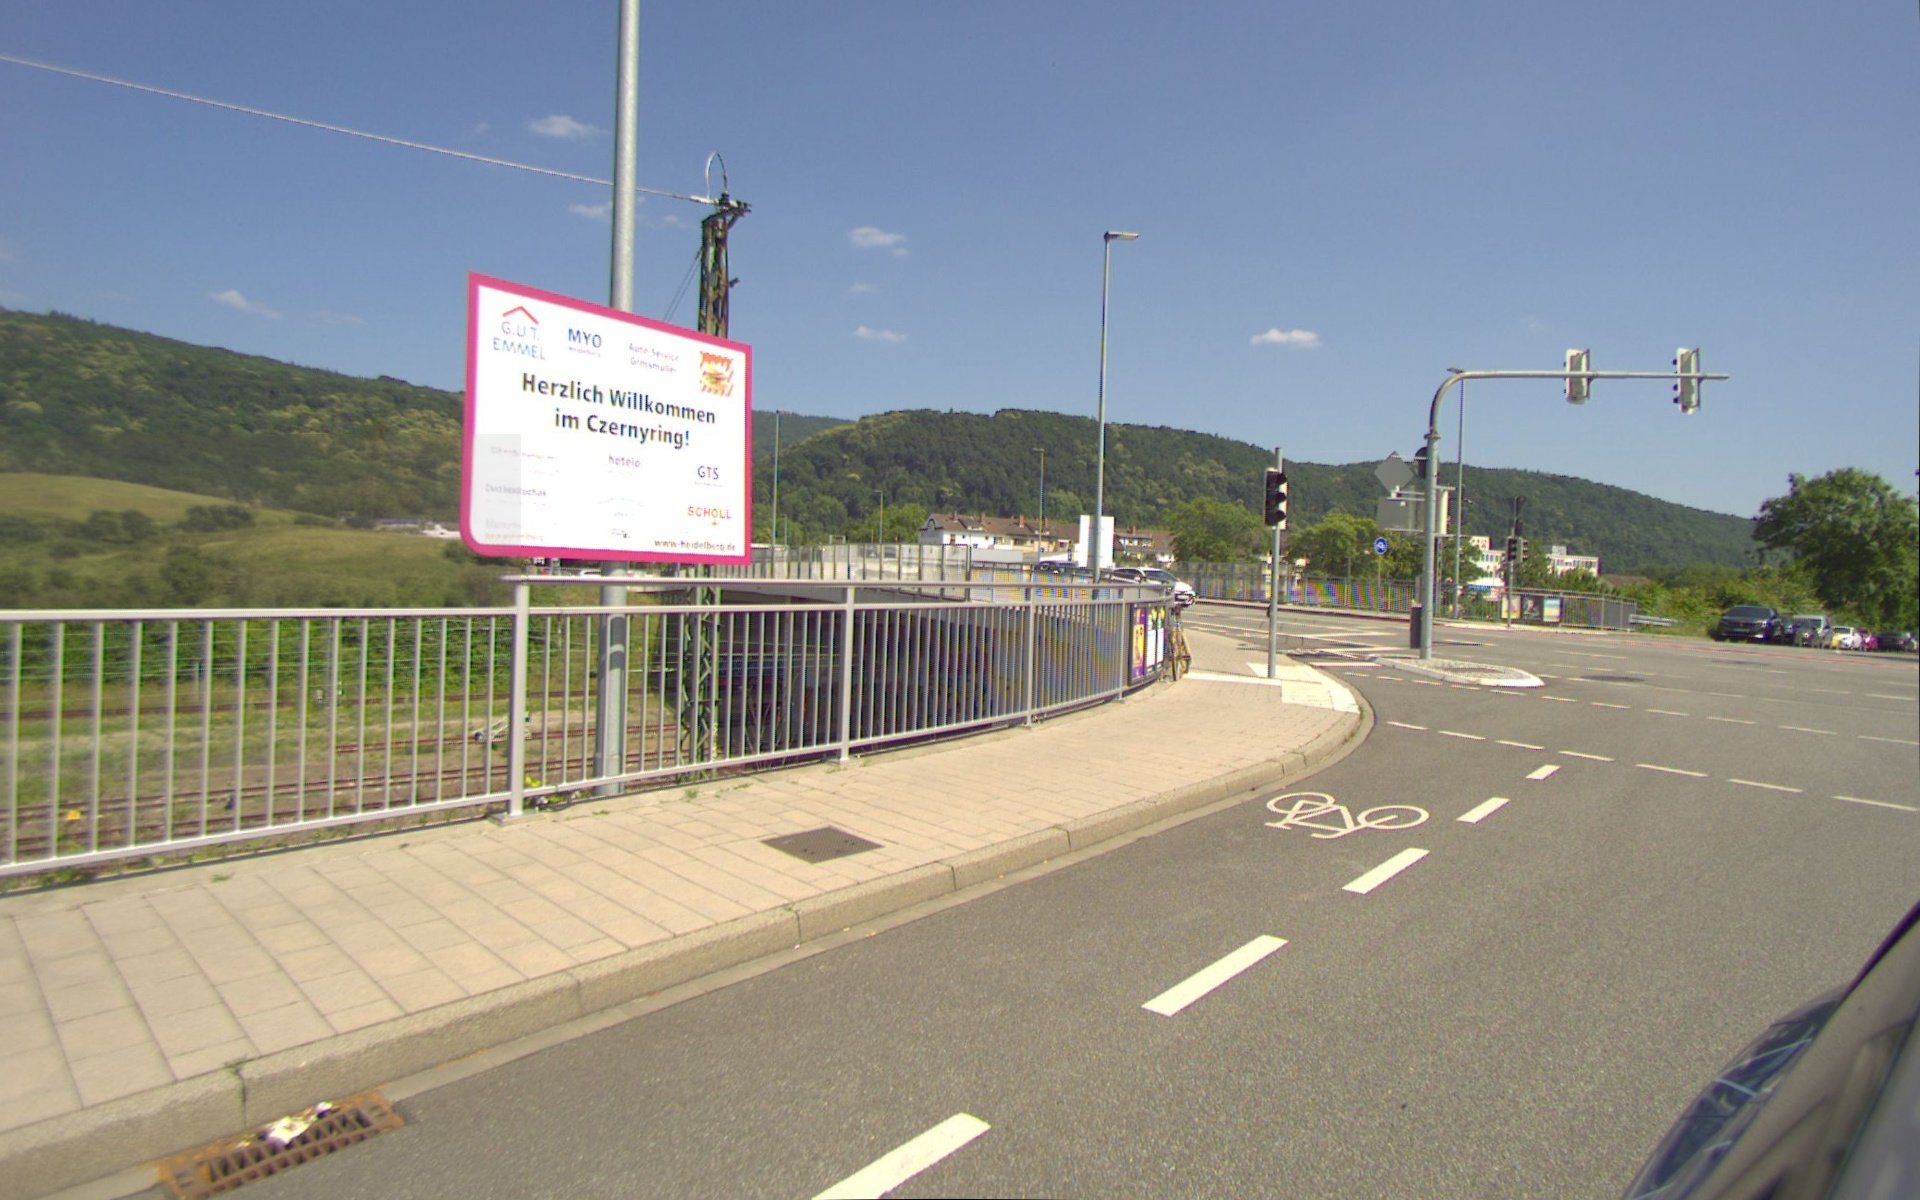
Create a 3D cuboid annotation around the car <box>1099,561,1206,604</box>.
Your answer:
[{"bbox_3d":[7.234,-0.687,38.473,1.701,1.487,4.419,1,2,-24],"label":"car"}]

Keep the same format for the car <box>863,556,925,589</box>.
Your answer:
[{"bbox_3d":[-3.842,-1.591,58.038,1.958,1.740,4.642,1,2,-25],"label":"car"}]

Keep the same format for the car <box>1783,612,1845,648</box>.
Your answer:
[{"bbox_3d":[40.743,1.393,48.263,3.930,1.552,1.671,0,2,-41],"label":"car"}]

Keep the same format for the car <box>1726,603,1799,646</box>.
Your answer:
[{"bbox_3d":[33.401,0.978,42.073,4.166,1.647,1.827,0,2,-44],"label":"car"}]

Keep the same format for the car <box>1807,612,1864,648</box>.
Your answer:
[{"bbox_3d":[45.085,1.510,52.110,3.930,1.655,1.671,0,2,-41],"label":"car"}]

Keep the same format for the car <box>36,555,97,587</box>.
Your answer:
[{"bbox_3d":[-60.471,-1.983,68.595,1.959,2.038,4.479,1,2,-26],"label":"car"}]

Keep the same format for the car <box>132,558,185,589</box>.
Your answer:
[{"bbox_3d":[-55.838,-1.894,70.585,1.959,2.038,4.479,1,2,-26],"label":"car"}]

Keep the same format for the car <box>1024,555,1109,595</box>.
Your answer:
[{"bbox_3d":[4.658,-1.127,44.825,1.701,1.646,4.452,1,2,-24],"label":"car"}]

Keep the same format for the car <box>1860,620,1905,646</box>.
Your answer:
[{"bbox_3d":[59.113,2.095,64.846,3.930,1.453,1.671,0,2,-41],"label":"car"}]

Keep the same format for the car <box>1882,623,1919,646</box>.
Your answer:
[{"bbox_3d":[66.812,2.454,71.789,3.930,1.453,1.671,0,2,-41],"label":"car"}]

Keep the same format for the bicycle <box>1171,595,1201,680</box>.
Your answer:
[{"bbox_3d":[3.239,0.504,14.461,0.294,1.114,1.612,2,1,16],"label":"bicycle"}]

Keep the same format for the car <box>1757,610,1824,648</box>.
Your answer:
[{"bbox_3d":[37.137,1.243,45.245,3.930,1.552,1.671,0,2,-41],"label":"car"}]

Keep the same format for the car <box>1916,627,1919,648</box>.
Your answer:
[{"bbox_3d":[75.170,2.847,78.077,3.931,1.552,1.670,0,-2,-42],"label":"car"}]

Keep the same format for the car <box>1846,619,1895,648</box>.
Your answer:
[{"bbox_3d":[53.968,1.978,59.983,3.930,1.552,1.671,0,2,-41],"label":"car"}]

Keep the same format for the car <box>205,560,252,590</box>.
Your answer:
[{"bbox_3d":[-52.113,-1.822,72.190,1.959,2.038,4.479,1,2,-26],"label":"car"}]

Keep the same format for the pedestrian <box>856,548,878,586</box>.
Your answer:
[{"bbox_3d":[-4.090,-1.455,44.522,0.632,1.638,0.923,1,1,-25],"label":"pedestrian"}]

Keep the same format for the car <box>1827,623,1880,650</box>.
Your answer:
[{"bbox_3d":[49.294,1.980,55.822,3.930,1.333,1.671,0,2,-41],"label":"car"}]
